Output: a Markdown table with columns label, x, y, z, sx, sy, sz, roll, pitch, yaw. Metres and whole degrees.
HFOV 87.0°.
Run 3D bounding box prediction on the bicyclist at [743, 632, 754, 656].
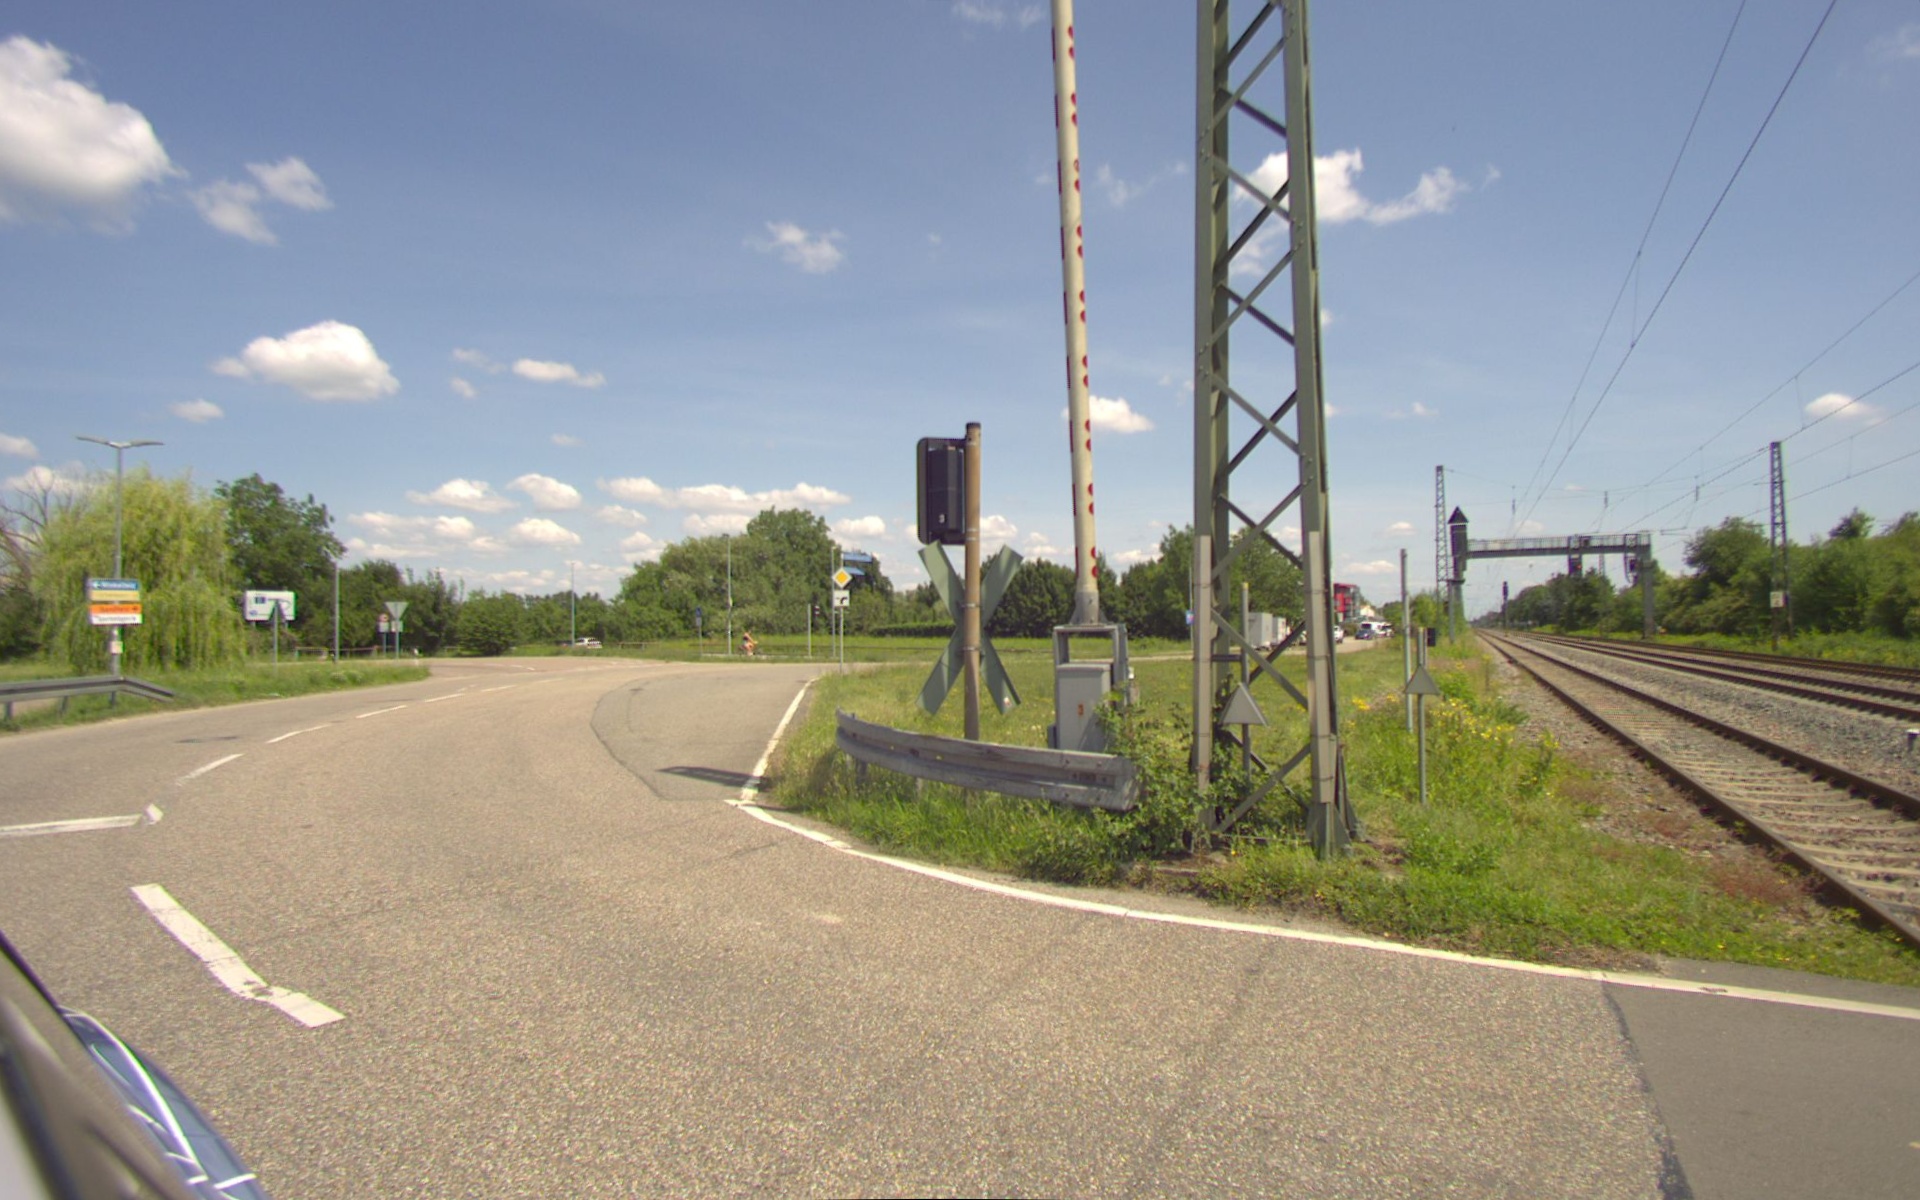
| label | x | y | z | sx | sy | sz | roll | pitch | yaw |
| --- | --- | --- | --- | --- | --- | --- | --- | --- | --- |
| bicyclist | -11.064 | 2.301 | 52.908 | 0.502 | 1.265 | 0.471 | 0 | -3 | -21 |

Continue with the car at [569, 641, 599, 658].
| label | x | y | z | sx | sy | sz | roll | pitch | yaw |
| --- | --- | --- | --- | --- | --- | --- | --- | --- | --- |
| car | -37.145 | 4.929 | 99.962 | 3.115 | 1.516 | 1.400 | -4 | -3 | 40 |

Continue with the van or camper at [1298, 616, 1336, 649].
| label | x | y | z | sx | sy | sz | roll | pitch | yaw |
| --- | --- | --- | --- | --- | --- | --- | --- | --- | --- |
| van or camper | 33.229 | 2.985 | 94.014 | 2.435 | 2.848 | 7.553 | 0 | -1 | 27 |

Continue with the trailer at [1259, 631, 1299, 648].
| label | x | y | z | sx | sy | sz | roll | pitch | yaw |
| --- | --- | --- | --- | --- | --- | --- | --- | --- | --- |
| trailer | 24.580 | 2.991 | 77.933 | 2.003 | 1.131 | 4.443 | 1 | 0 | 30 |

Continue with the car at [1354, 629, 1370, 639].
| label | x | y | z | sx | sy | sz | roll | pitch | yaw |
| --- | --- | --- | --- | --- | --- | --- | --- | --- | --- |
| car | 53.696 | 4.524 | 134.997 | 1.577 | 1.238 | 3.749 | -2 | -2 | 28 |

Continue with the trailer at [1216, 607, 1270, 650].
| label | x | y | z | sx | sy | sz | roll | pitch | yaw |
| --- | --- | --- | --- | --- | --- | --- | --- | --- | --- |
| trailer | 18.569 | 1.843 | 66.268 | 1.934 | 2.664 | 5.125 | 1 | -1 | 33 |

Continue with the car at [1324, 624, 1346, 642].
| label | x | y | z | sx | sy | sz | roll | pitch | yaw |
| --- | --- | --- | --- | --- | --- | --- | --- | --- | --- |
| car | 39.382 | 3.458 | 106.299 | 1.578 | 1.877 | 3.747 | -2 | -2 | 29 |

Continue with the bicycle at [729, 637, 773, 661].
| label | x | y | z | sx | sy | sz | roll | pitch | yaw |
| --- | --- | --- | --- | --- | --- | --- | --- | --- | --- |
| bicycle | -10.935 | 2.575 | 52.961 | 2.109 | 1.173 | 0.663 | -1 | -2 | -21 |

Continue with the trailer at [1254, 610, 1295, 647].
| label | x | y | z | sx | sy | sz | roll | pitch | yaw |
| --- | --- | --- | --- | --- | --- | --- | --- | --- | --- |
| trailer | 22.266 | 1.997 | 71.503 | 1.916 | 2.527 | 4.696 | 1 | -1 | 27 |
